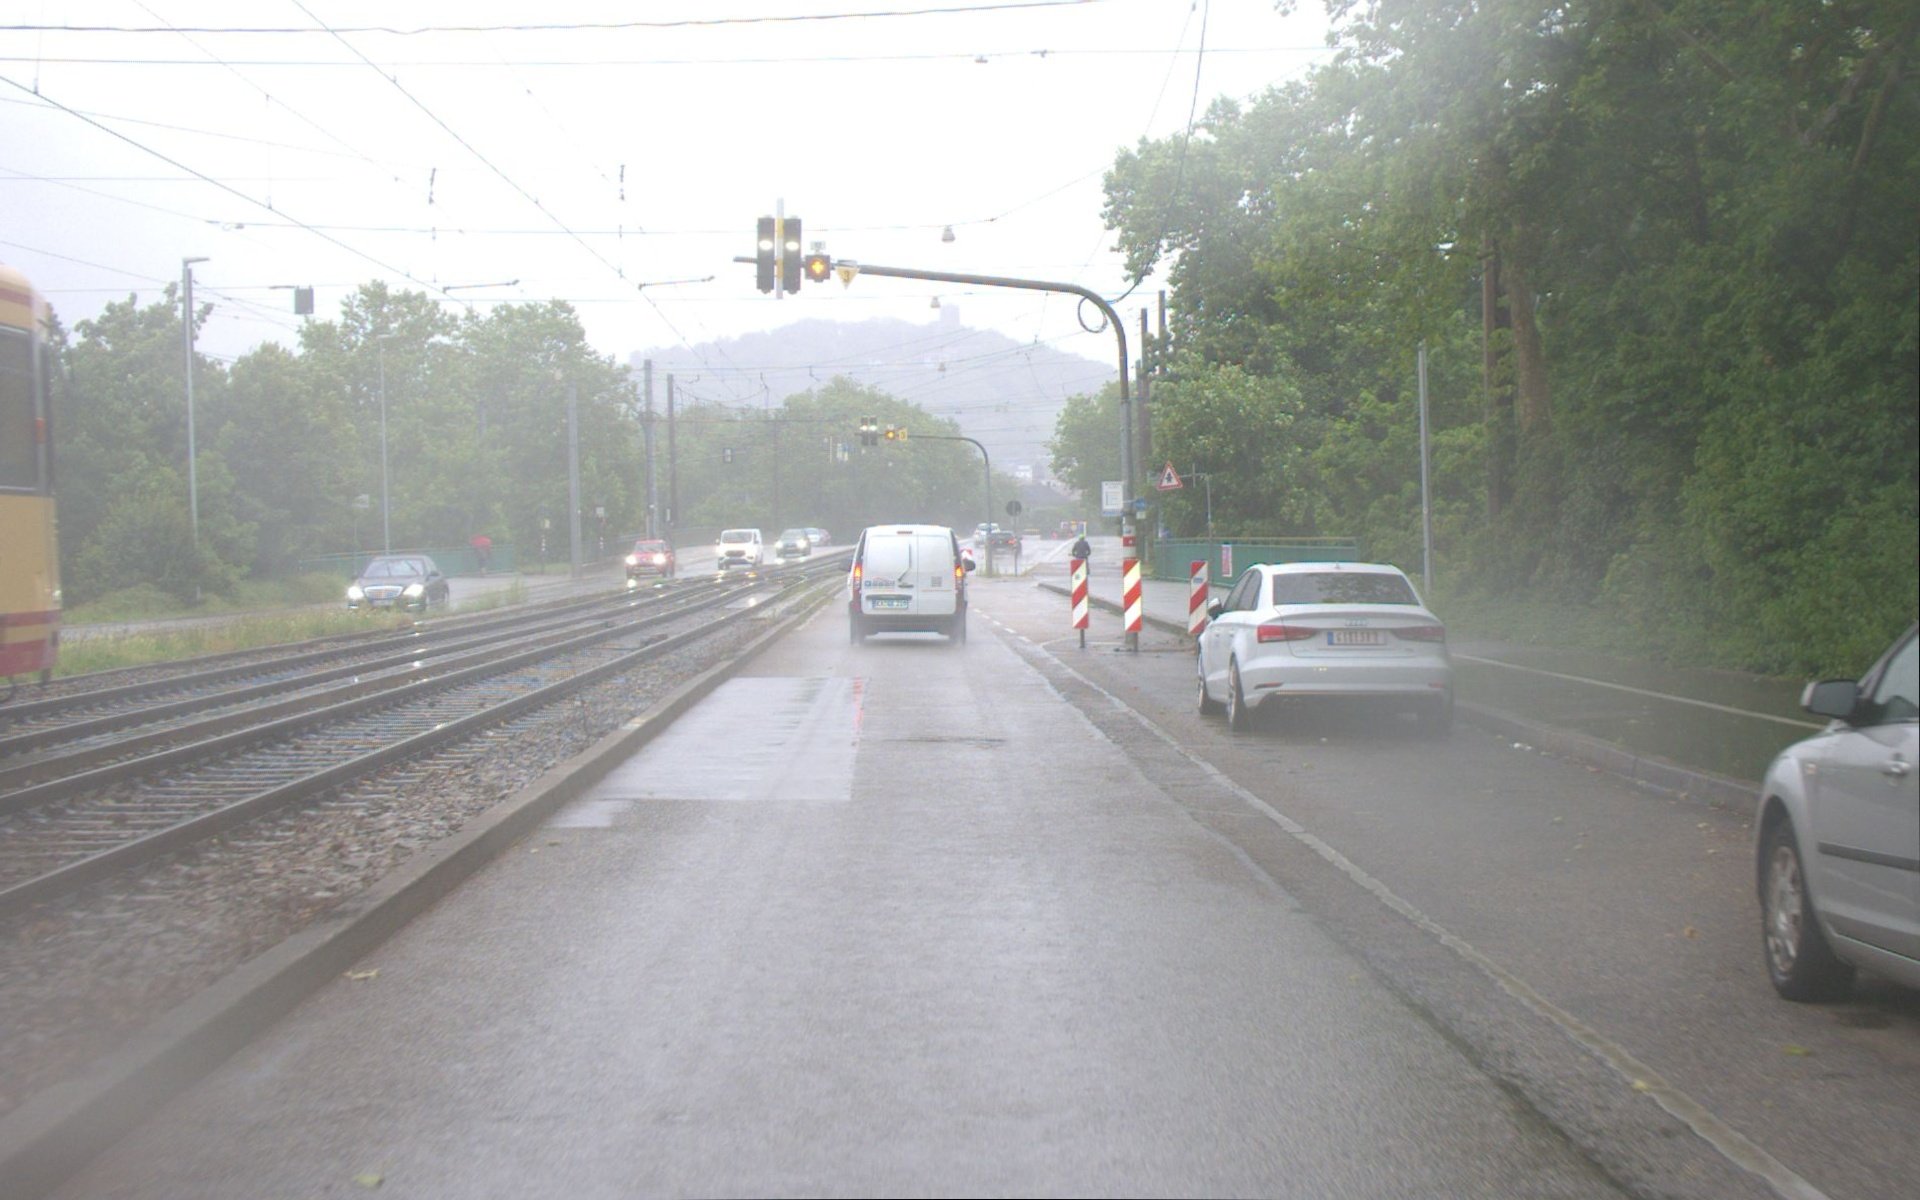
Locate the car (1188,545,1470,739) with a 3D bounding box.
[{"bbox_3d":[3.058,0.294,29.328,1.819,1.481,4.481,1,1,-1],"label":"car"}]

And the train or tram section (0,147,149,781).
[{"bbox_3d":[-7.668,-0.881,21.460,2.811,4.135,10.269,0,0,0],"label":"train or tram section"}]

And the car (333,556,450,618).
[{"bbox_3d":[-13.598,-0.337,82.487,1.993,1.399,5.386,-1,1,-1],"label":"car"}]

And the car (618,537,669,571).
[{"bbox_3d":[-13.253,-1.937,144.262,1.819,1.393,4.000,-1,1,-1],"label":"car"}]

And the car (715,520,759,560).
[{"bbox_3d":[-11.513,-3.068,177.446,1.993,2.007,4.000,0,0,0],"label":"car"}]

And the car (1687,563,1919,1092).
[{"bbox_3d":[3.544,0.632,10.090,1.812,1.454,4.346,1,0,-1],"label":"car"}]

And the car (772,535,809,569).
[{"bbox_3d":[-10.077,-2.843,204.663,1.993,1.941,4.000,0,0,0],"label":"car"}]

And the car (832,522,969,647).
[{"bbox_3d":[-0.873,-0.256,52.619,1.993,1.842,4.000,0,1,0],"label":"car"}]
